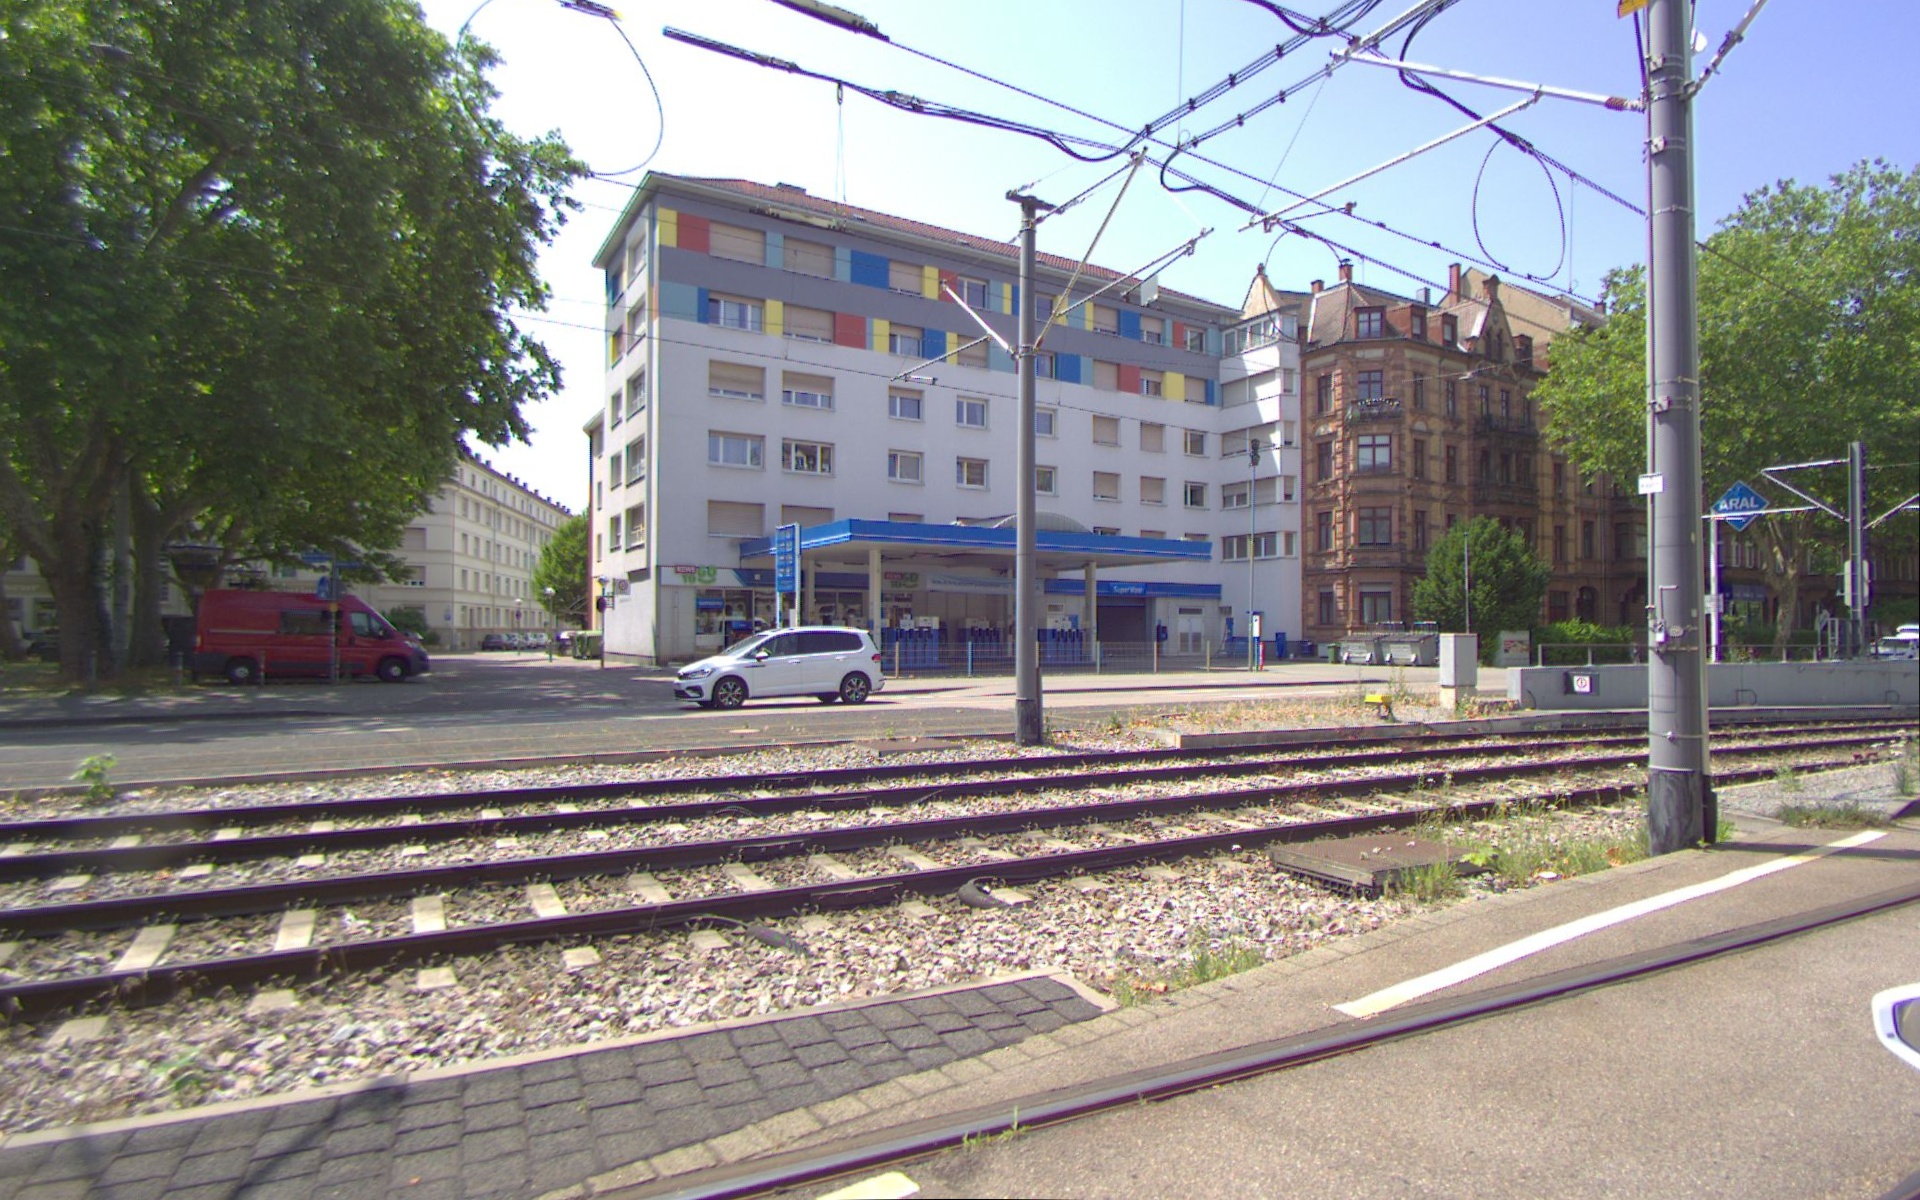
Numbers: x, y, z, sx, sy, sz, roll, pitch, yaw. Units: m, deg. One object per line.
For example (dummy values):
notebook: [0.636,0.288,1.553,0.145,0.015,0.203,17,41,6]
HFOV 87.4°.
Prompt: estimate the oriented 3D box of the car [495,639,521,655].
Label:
car: [-40.215,4.149,89.487,1.701,1.349,3.738,1,-2,-18]

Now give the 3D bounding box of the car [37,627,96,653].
car: [-52.070,2.329,58.590,1.601,1.428,3.900,1,-1,-27]

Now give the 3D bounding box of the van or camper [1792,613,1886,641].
van or camper: [61.046,1.876,69.840,1.906,1.861,4.531,1,-1,-25]

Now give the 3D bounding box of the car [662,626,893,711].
car: [-3.880,1.419,21.550,4.548,1.646,1.839,1,-3,-30]

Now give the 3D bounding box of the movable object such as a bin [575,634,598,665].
movable object such as a bin: [-19.102,2.516,51.429,1.007,1.581,0.558,1,-1,-30]

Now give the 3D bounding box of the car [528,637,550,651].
car: [-41.697,4.340,99.629,1.701,1.349,3.738,1,-2,-18]

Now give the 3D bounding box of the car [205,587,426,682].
car: [-17.650,1.022,27.804,4.927,2.423,1.837,3,-4,-32]

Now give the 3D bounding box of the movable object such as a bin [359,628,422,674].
movable object such as a bin: [-21.102,1.848,37.207,1.964,1.632,2.703,1,-2,-31]

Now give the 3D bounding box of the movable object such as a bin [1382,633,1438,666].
movable object such as a bin: [19.790,2.160,44.224,1.454,1.403,1.772,1,-2,-33]

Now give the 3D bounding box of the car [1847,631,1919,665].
car: [46.858,2.388,50.632,4.666,1.646,1.983,1,-1,-32]

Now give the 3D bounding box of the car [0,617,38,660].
car: [-46.884,1.831,48.706,2.138,1.975,3.973,1,-1,-27]

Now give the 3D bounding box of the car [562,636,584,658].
car: [-34.287,4.129,89.017,1.798,1.840,3.980,2,-1,-21]

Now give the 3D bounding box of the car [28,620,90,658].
car: [-45.002,1.927,50.246,1.603,1.769,3.677,1,-1,-31]

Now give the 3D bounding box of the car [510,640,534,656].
car: [-41.117,4.487,94.407,1.701,1.349,3.738,1,-2,-18]

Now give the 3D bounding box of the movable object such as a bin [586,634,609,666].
movable object such as a bin: [-18.379,2.515,50.939,1.007,1.581,0.558,1,-1,-30]

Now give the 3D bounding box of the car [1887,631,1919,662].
car: [51.214,2.468,53.470,4.041,1.577,1.780,1,-1,-32]

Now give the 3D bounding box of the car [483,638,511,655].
car: [-38.833,3.889,84.246,1.701,1.349,3.738,1,-2,-18]
